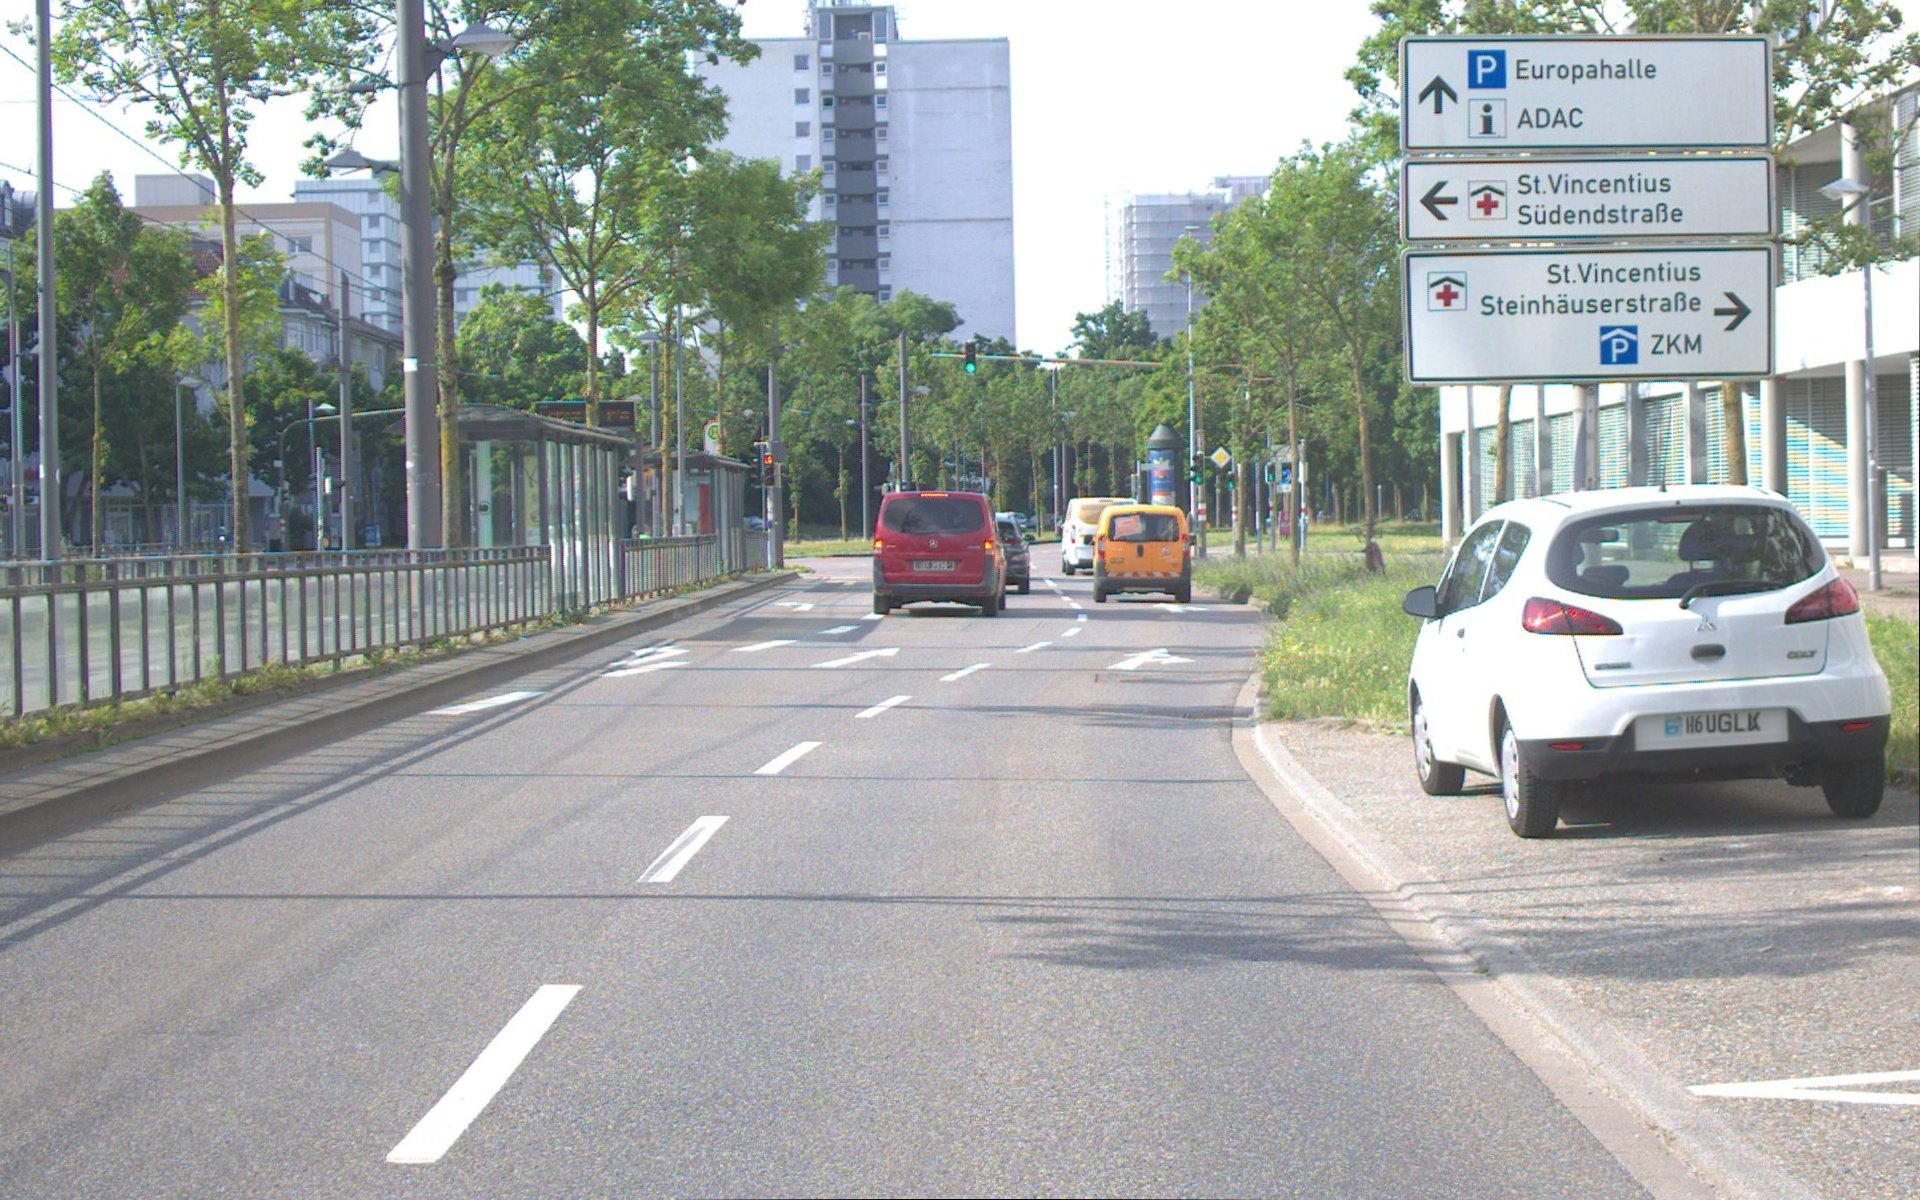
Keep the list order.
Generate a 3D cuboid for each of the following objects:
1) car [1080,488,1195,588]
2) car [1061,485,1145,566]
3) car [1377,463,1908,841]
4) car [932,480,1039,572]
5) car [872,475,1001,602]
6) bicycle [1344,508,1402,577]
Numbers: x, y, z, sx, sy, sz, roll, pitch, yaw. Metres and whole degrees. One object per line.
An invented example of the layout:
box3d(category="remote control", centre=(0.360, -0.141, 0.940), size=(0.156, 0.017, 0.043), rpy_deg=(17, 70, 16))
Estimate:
box3d(category="car", centre=(3.114, -1.118, 60.813), size=(1.876, 1.690, 3.974), rpy_deg=(-1, 2, 1))
box3d(category="car", centre=(3.635, -1.926, 88.193), size=(1.993, 2.007, 4.000), rpy_deg=(1, 1, 0))
box3d(category="car", centre=(3.152, 0.175, 16.619), size=(1.689, 1.521, 3.851), rpy_deg=(-3, 1, -1))
box3d(category="car", centre=(0.501, -1.480, 68.424), size=(1.993, 1.700, 4.000), rpy_deg=(-2, 1, 0))
box3d(category="car", centre=(-0.380, -0.966, 52.690), size=(1.874, 1.847, 4.000), rpy_deg=(-1, 2, -1))
box3d(category="bicycle", centre=(6.234, -0.871, 51.914), size=(0.618, 1.013, 1.880), rpy_deg=(-1, 2, -1))
